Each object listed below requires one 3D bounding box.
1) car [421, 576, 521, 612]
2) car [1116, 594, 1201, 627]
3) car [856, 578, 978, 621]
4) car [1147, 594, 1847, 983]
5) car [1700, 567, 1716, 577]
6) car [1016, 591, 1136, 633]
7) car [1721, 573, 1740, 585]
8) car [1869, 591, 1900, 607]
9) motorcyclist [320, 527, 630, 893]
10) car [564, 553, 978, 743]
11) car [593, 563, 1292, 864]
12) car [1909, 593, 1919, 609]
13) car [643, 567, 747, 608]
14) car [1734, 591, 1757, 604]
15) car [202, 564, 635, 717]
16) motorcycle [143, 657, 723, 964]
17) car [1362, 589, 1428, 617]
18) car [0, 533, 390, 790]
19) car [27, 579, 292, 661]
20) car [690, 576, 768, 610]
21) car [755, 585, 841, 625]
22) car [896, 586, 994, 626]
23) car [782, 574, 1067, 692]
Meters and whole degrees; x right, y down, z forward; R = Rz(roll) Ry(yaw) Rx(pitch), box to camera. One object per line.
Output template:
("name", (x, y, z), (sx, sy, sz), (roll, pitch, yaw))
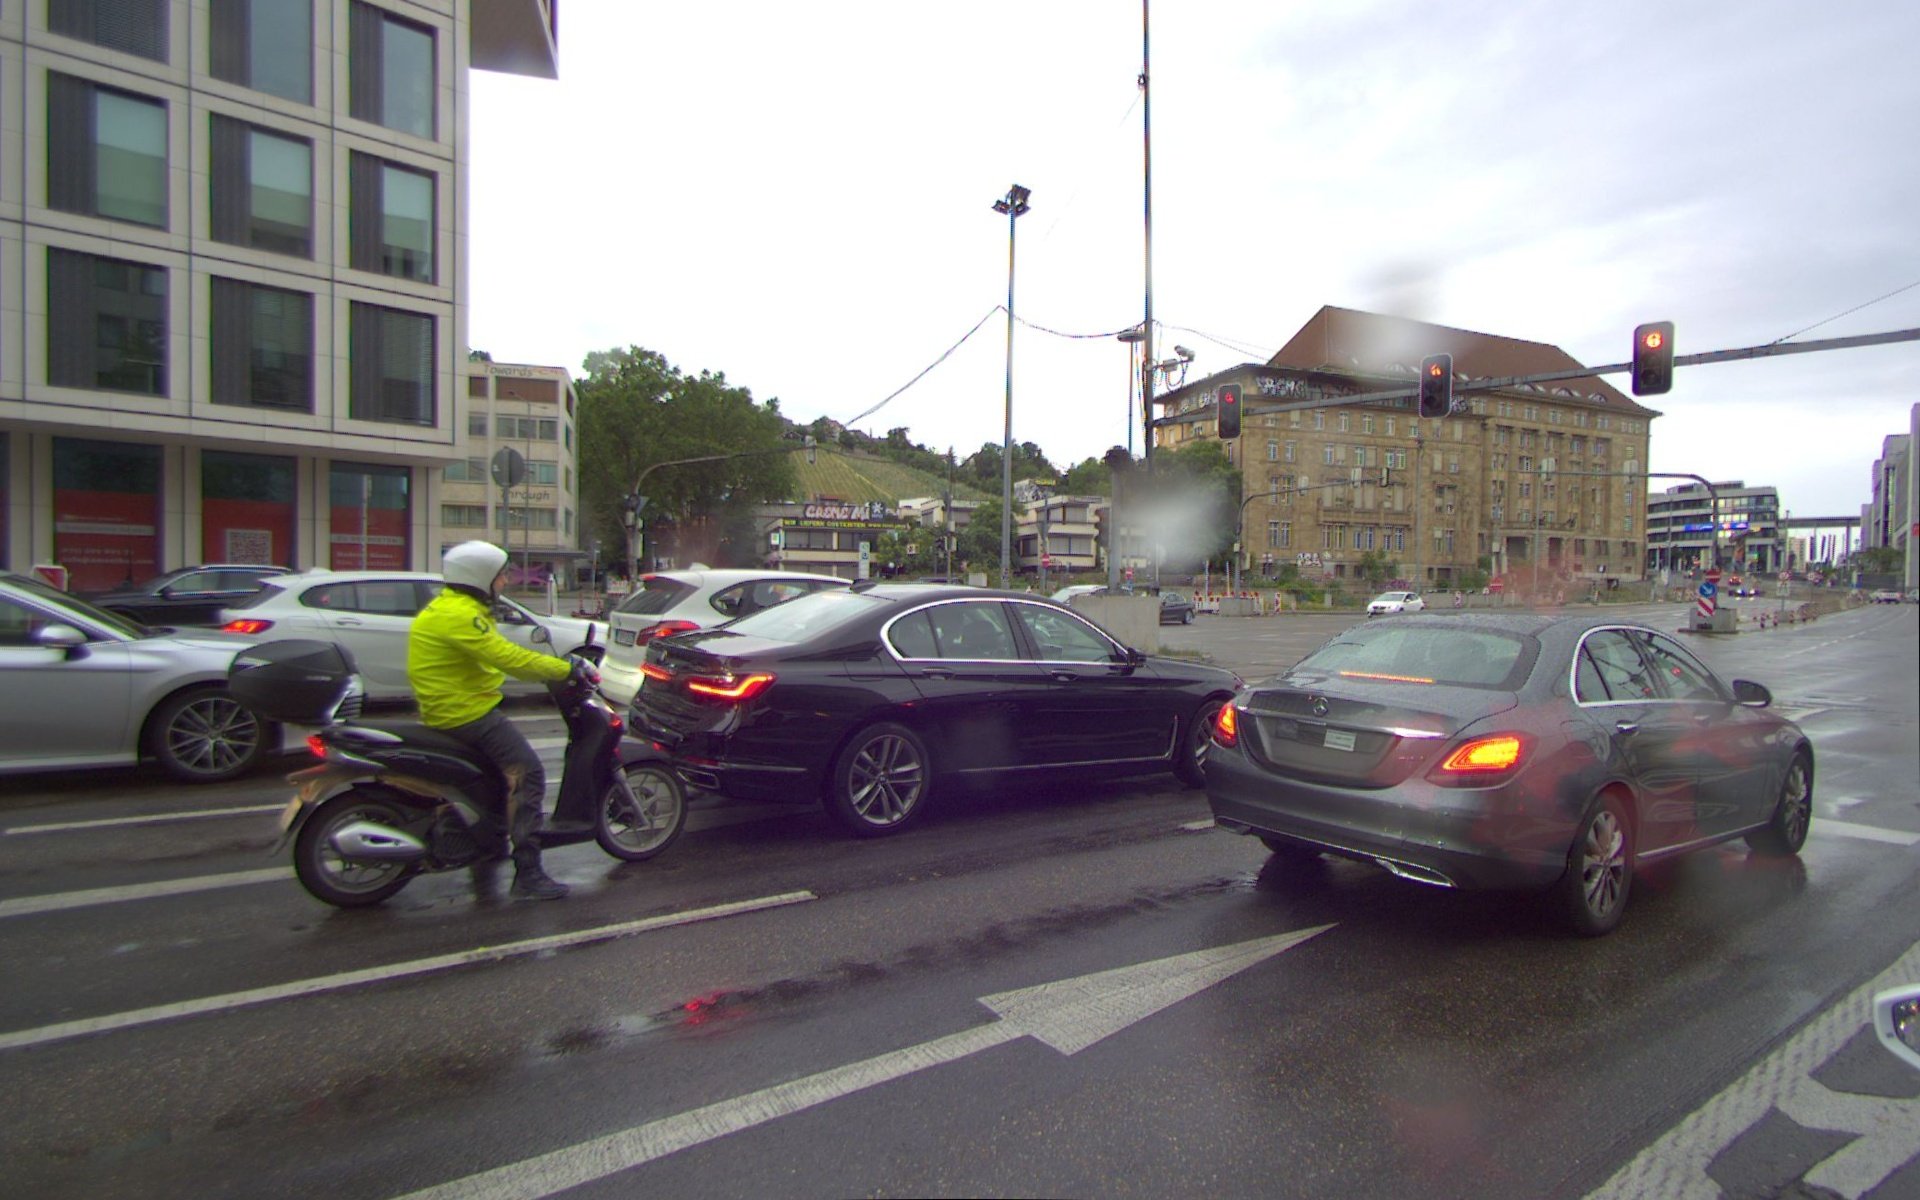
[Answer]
("car", (-25.364, -0.334, 52.058), (4.940, 1.762, 1.998), (1, 0, 25))
("car", (8.615, 0.481, 43.395), (4.052, 1.277, 1.607), (2, 1, -45))
("car", (-1.380, -0.003, 33.279), (3.974, 1.277, 1.607), (2, 1, -45))
("car", (3.294, 0.705, 5.805), (4.442, 1.421, 1.771), (0, 2, -36))
("car", (152.418, -5.670, 204.715), (1.963, 1.840, 3.995), (3, 1, 27))
("car", (3.977, 0.422, 34.125), (4.164, 1.277, 1.751), (2, 1, -43))
("car", (140.141, -3.875, 182.759), (1.963, 2.040, 3.995), (3, 1, 26))
("car", (105.554, -0.113, 114.726), (1.967, 1.662, 3.987), (3, 1, 35))
("motorcyclist", (-2.325, 0.448, 4.814), (1.092, 1.495, 0.933), (2, 1, -41))
("car", (-1.853, 0.439, 10.632), (3.971, 1.637, 1.716), (2, 1, -43))
("car", (0.118, 0.634, 7.390), (4.955, 1.535, 1.873), (2, 1, -37))
("car", (110.185, 0.082, 115.144), (1.706, 1.662, 3.419), (3, 4, 38))
("car", (-12.231, -0.588, 46.321), (4.369, 1.671, 1.998), (3, 1, 27))
("car", (106.875, -0.345, 136.667), (1.635, 1.617, 3.612), (3, 1, 25))
("car", (-5.879, 0.408, 11.132), (3.956, 1.391, 1.770), (2, 1, -37))
("motorcycle", (-2.391, 0.832, 4.775), (2.277, 1.002, 0.933), (1, 1, -42))
("car", (23.202, 0.164, 53.509), (3.971, 1.277, 1.751), (2, 1, -43))
("car", (-6.568, 0.328, 6.560), (4.756, 1.541, 1.817), (2, 1, -37))
("car", (-15.592, 0.399, 19.706), (3.928, 1.443, 1.681), (2, -1, -43))
("car", (-12.837, -0.413, 55.694), (4.385, 1.671, 1.990), (3, 1, 41))
("car", (-7.472, 0.213, 46.210), (3.939, 1.617, 1.668), (3, 1, 40))
("car", (-0.739, 0.263, 48.348), (4.318, 1.684, 1.996), (3, 1, 32))
("car", (-0.531, 0.512, 15.584), (4.021, 1.621, 1.776), (2, 1, -27))
